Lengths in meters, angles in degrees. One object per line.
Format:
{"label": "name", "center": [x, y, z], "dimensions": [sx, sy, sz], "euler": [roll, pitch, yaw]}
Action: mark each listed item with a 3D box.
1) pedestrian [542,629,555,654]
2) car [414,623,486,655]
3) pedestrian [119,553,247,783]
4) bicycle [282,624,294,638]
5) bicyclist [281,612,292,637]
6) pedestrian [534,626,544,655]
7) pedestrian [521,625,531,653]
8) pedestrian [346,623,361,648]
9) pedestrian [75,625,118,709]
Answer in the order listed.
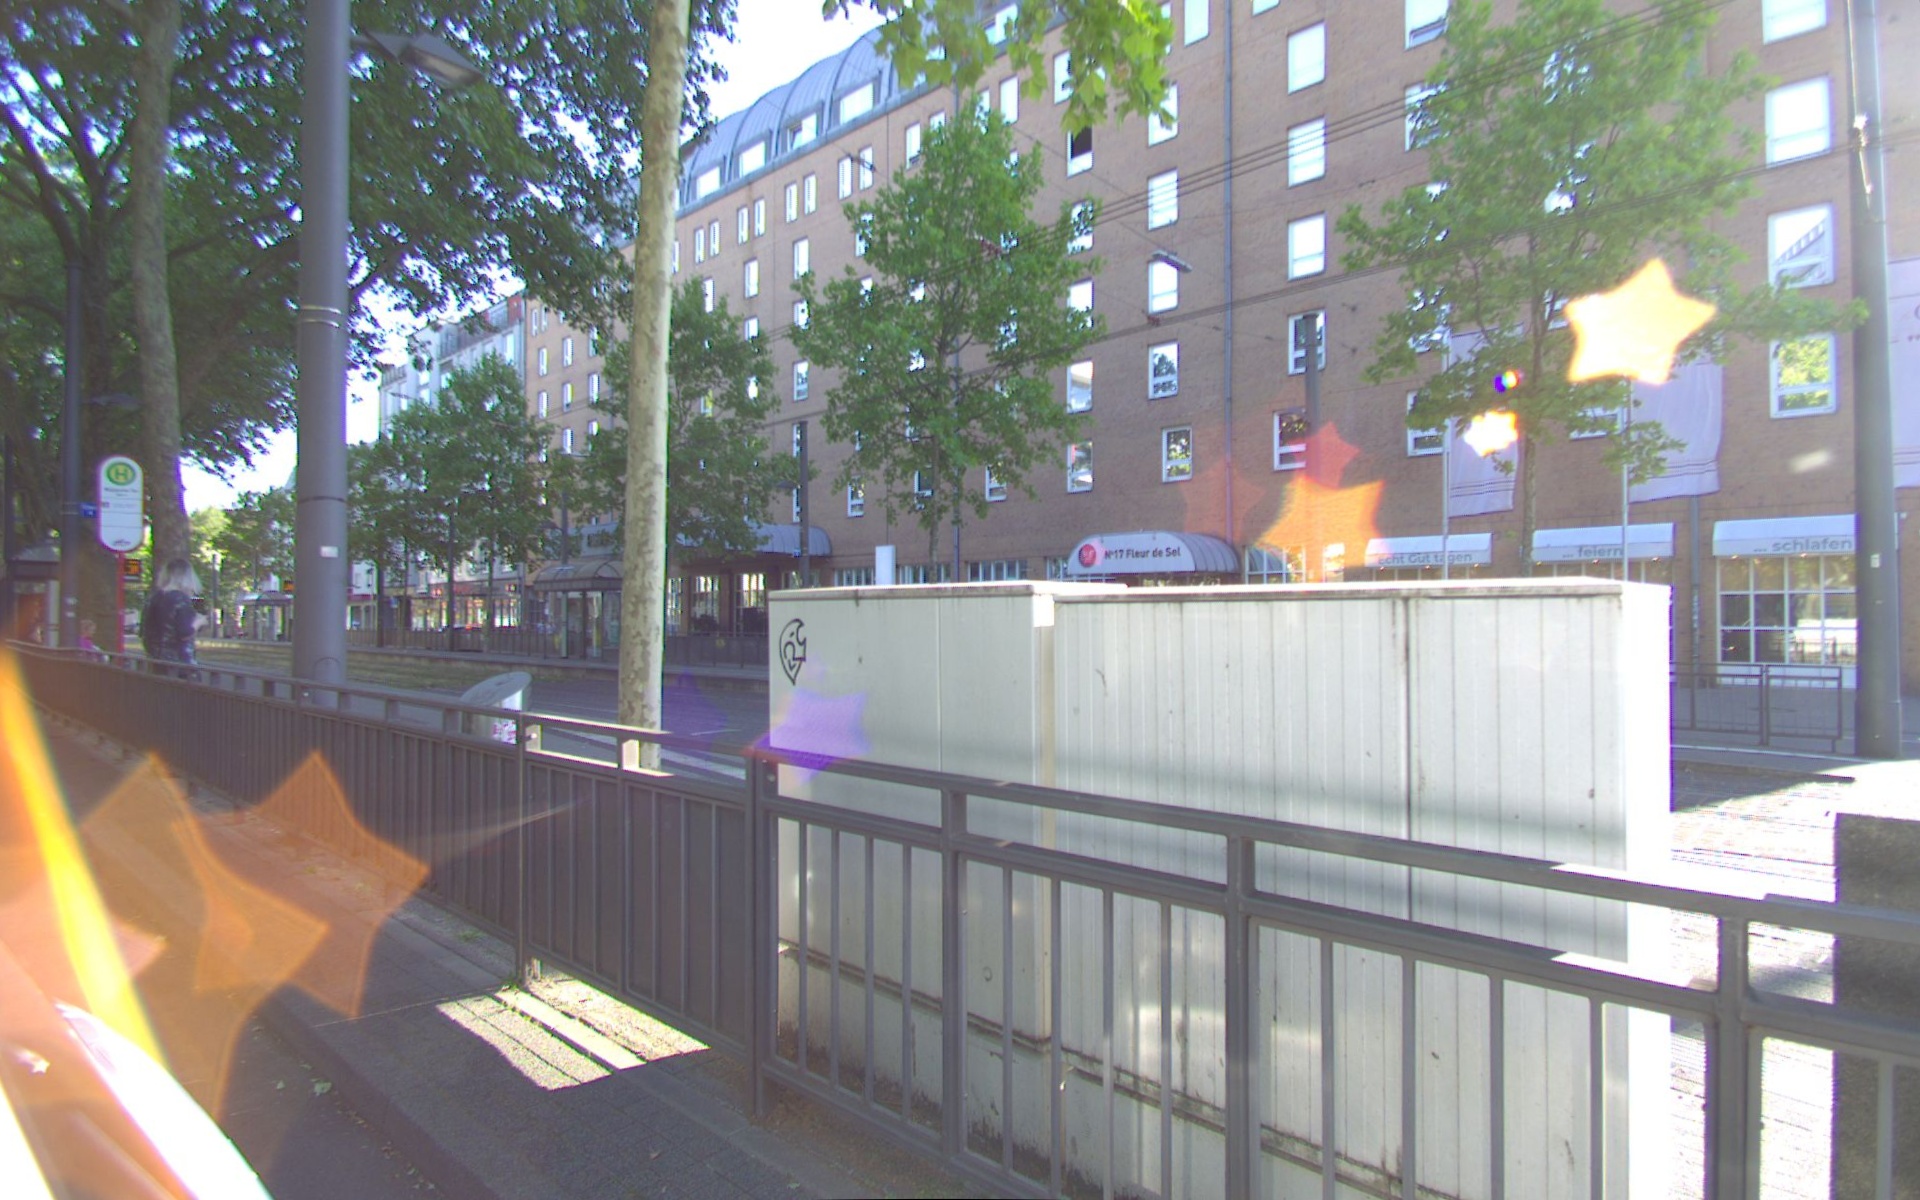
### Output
{"label": "pedestrian", "center": [-24.356, 2.457, 59.925], "dimensions": [0.516, 1.447, 0.512], "euler": [-2, -2, 44]}
{"label": "car", "center": [-25.079, 1.894, 49.688], "dimensions": [4.308, 1.500, 1.737], "euler": [-1, -2, 42]}
{"label": "pedestrian", "center": [-6.678, 0.564, 8.723], "dimensions": [0.599, 1.897, 0.622], "euler": [1, 0, 5]}
{"label": "bicycle", "center": [-51.110, 2.351, 76.988], "dimensions": [0.444, 1.012, 1.754], "euler": [2, -2, -44]}
{"label": "bicyclist", "center": [-51.203, 1.879, 76.971], "dimensions": [0.564, 1.918, 0.814], "euler": [2, -2, -43]}
{"label": "pedestrian", "center": [-23.109, 2.213, 55.507], "dimensions": [0.431, 1.532, 0.660], "euler": [1, -2, -27]}
{"label": "pedestrian", "center": [-23.650, 2.106, 55.190], "dimensions": [0.431, 1.518, 0.660], "euler": [1, -2, -27]}
{"label": "pedestrian", "center": [-49.517, 2.892, 82.632], "dimensions": [0.763, 2.029, 0.796], "euler": [-2, -2, 41]}
{"label": "pedestrian", "center": [-13.955, 1.065, 16.357], "dimensions": [0.493, 1.325, 0.419], "euler": [1, -2, -41]}
